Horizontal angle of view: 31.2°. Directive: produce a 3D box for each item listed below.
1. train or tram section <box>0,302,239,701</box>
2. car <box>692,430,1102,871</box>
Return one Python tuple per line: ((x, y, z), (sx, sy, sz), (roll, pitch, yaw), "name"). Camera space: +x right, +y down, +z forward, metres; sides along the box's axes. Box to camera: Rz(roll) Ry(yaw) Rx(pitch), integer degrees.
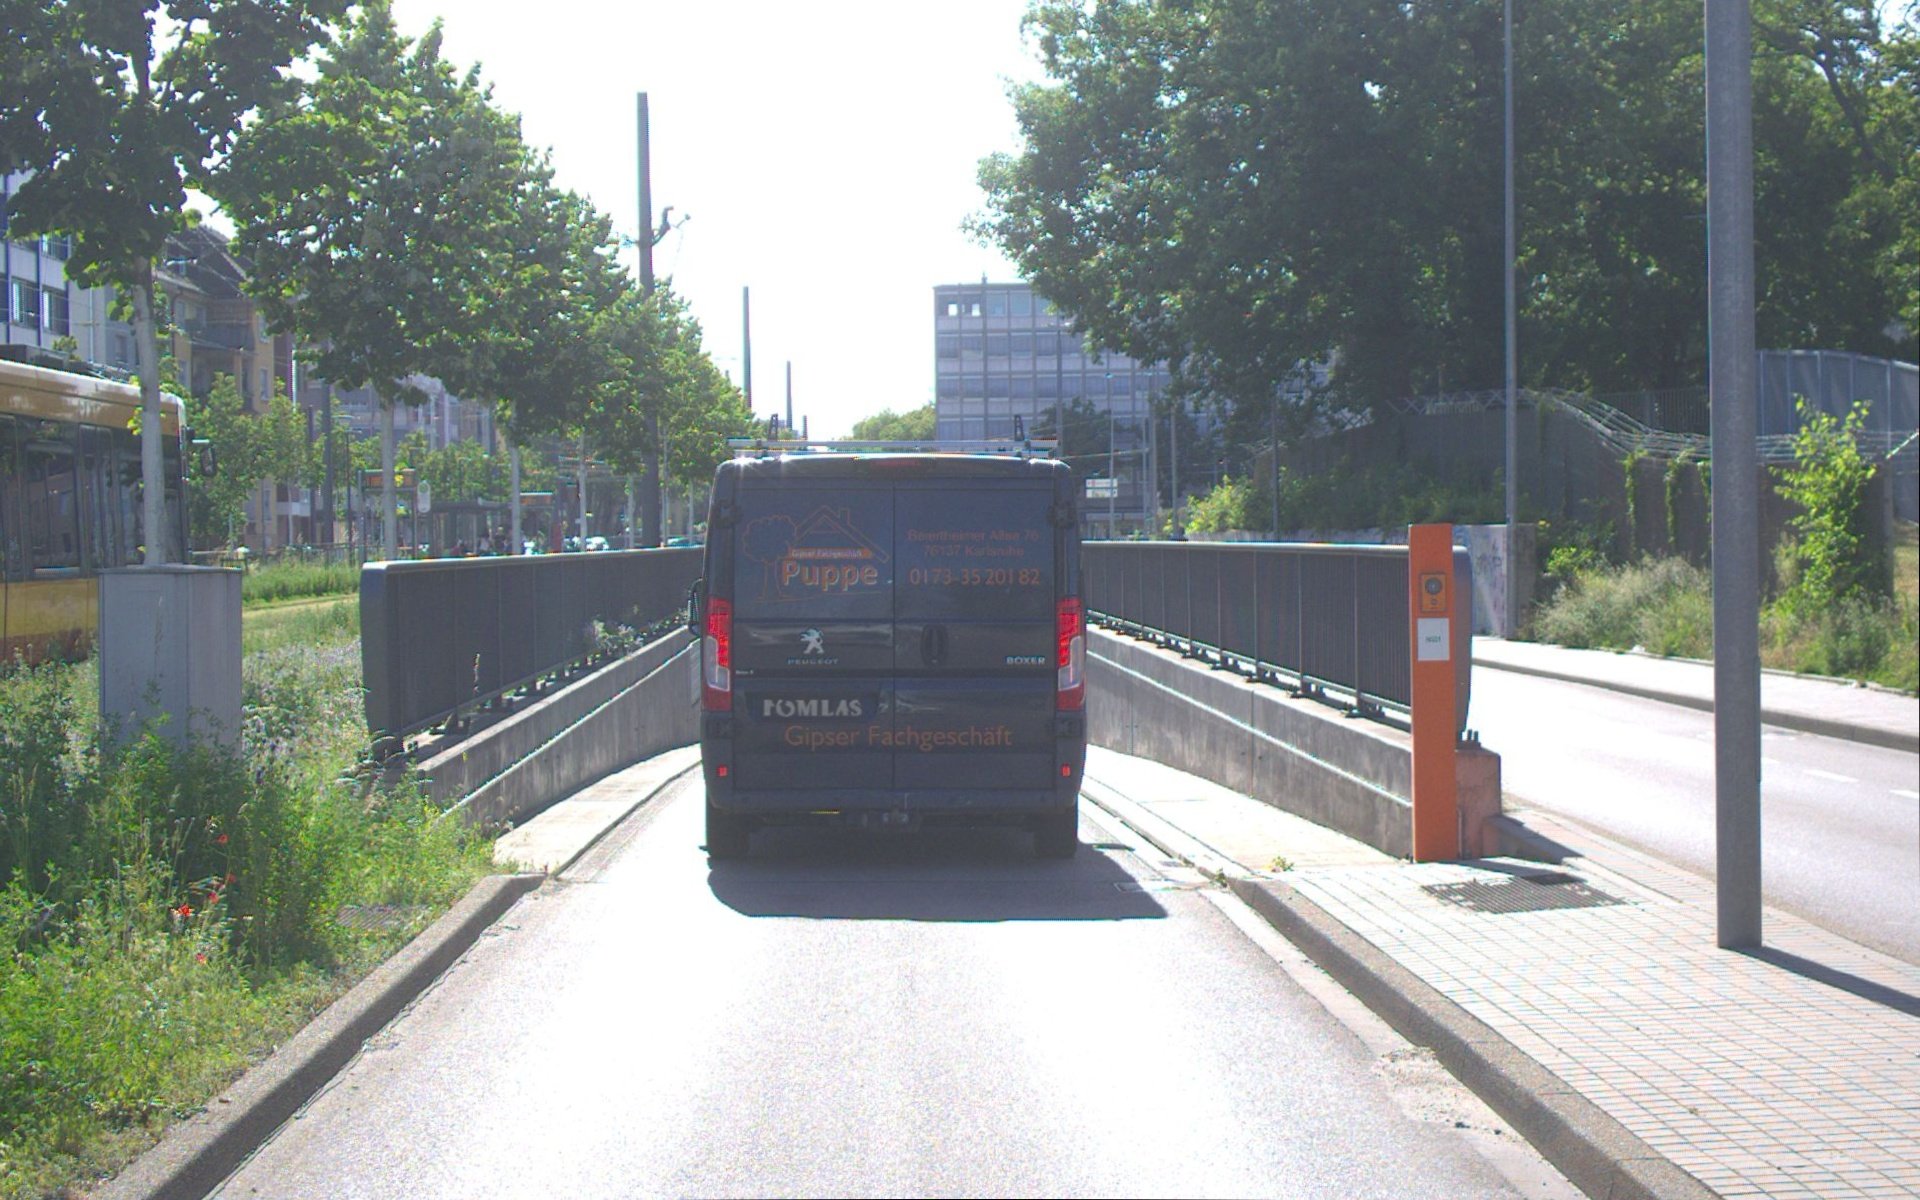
((-9.846, -1.000, 36.661), (1.993, 3.656, 11.684), (0, 1, -1), "train or tram section")
((-0.366, 0.223, 19.544), (2.082, 2.241, 4.000), (0, 1, -1), "car")
